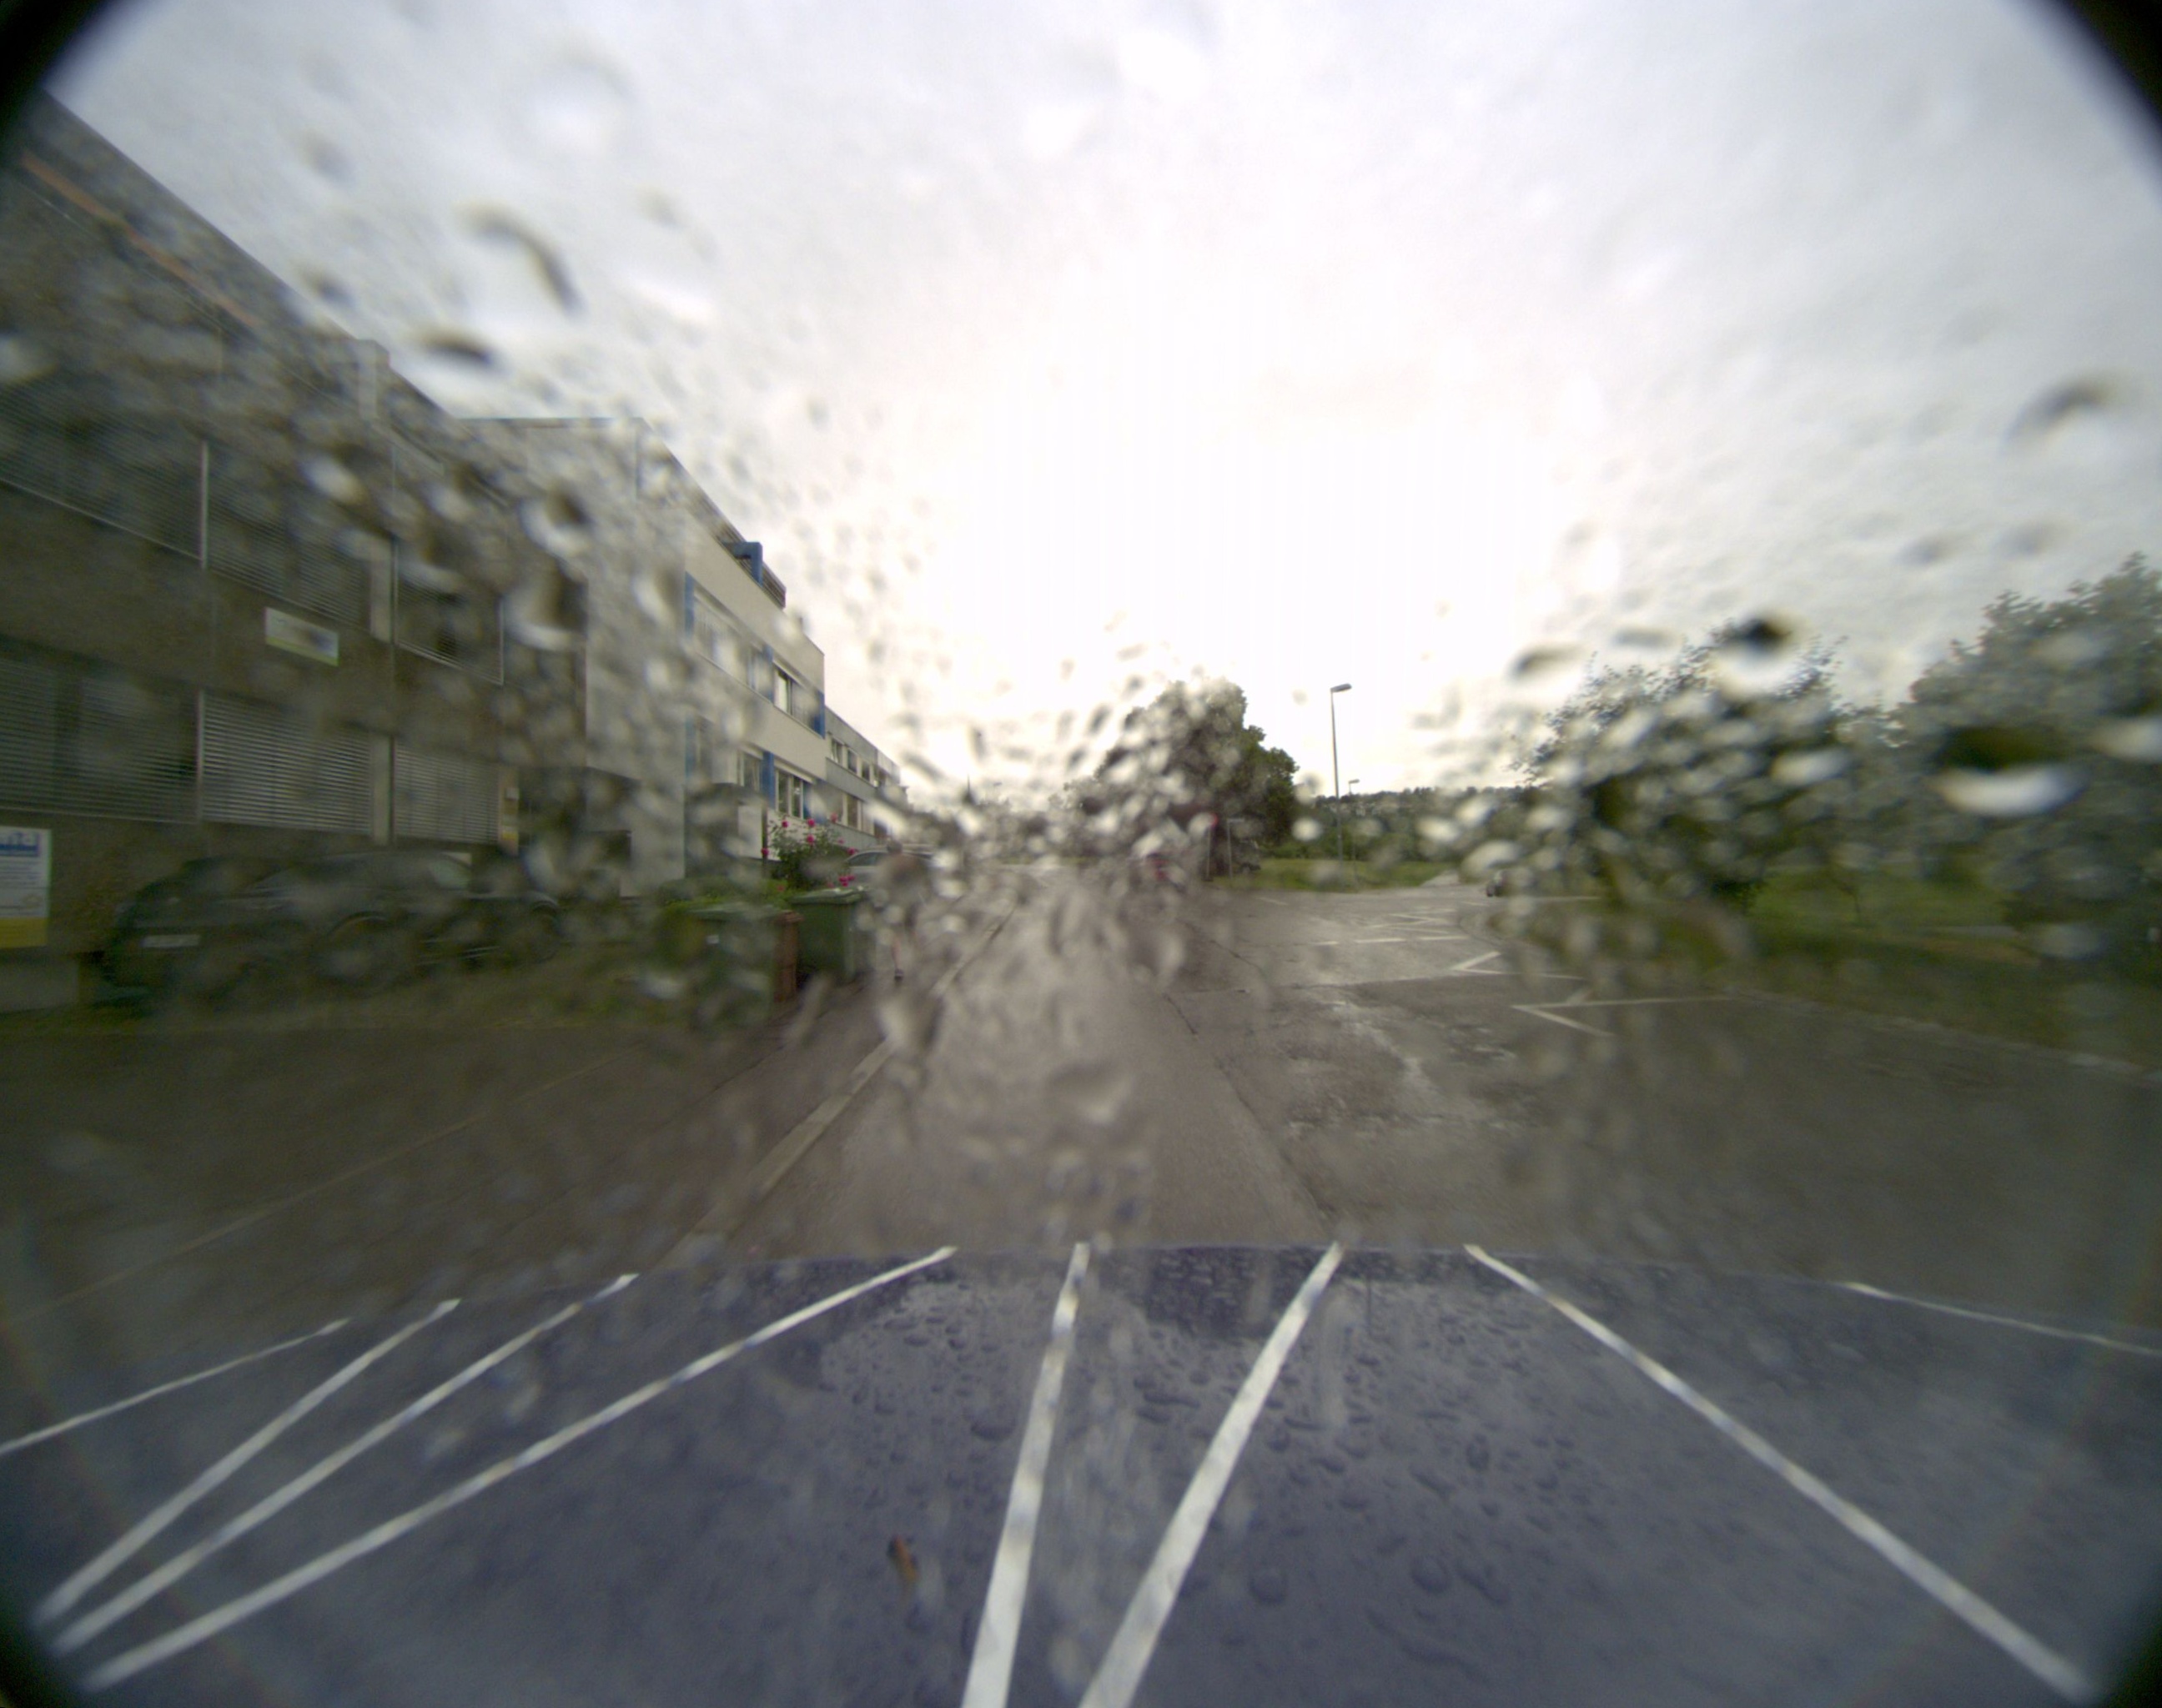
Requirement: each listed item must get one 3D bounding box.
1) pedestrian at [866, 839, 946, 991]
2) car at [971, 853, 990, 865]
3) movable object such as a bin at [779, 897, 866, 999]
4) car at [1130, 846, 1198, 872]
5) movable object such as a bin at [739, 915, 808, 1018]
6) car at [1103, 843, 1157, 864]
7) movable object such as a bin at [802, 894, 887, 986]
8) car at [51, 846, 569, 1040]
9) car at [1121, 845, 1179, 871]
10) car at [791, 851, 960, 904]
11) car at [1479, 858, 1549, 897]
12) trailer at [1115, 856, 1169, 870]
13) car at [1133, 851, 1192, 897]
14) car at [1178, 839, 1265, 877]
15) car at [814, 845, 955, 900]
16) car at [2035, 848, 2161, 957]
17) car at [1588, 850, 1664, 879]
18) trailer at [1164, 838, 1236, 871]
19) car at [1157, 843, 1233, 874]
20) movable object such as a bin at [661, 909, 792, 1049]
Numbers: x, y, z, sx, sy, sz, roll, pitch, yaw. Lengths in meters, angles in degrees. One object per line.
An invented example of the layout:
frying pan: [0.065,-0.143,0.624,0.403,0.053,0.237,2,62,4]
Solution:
pedestrian: [-2.114,0.709,9.255,0.738,1.757,0.808,-2,1,-1]
car: [-15.123,0.712,114.190,1.819,1.717,4.643,-1,1,-22]
movable object such as a bin: [-2.930,1.054,8.660,0.745,1.060,0.636,-2,1,-1]
car: [6.088,0.360,56.078,4.631,1.581,1.805,-3,1,-5]
movable object such as a bin: [-3.142,1.137,7.787,0.473,0.961,0.514,-2,1,-1]
car: [4.282,-0.034,66.405,4.382,1.712,2.043,-1,1,-9]
movable object such as a bin: [-2.903,1.042,9.396,0.773,1.024,0.808,-2,0,-1]
car: [-8.562,0.789,9.205,1.753,1.740,4.472,-1,1,-2]
car: [5.310,0.283,58.695,4.085,1.712,2.024,-3,1,-3]
car: [-6.123,0.681,23.118,4.609,1.529,2.079,0,0,-2]
car: [20.667,1.168,36.464,1.996,1.742,4.392,-1,-3,17]
trailer: [4.906,0.688,61.327,3.953,0.955,1.999,-2,0,-7]
car: [2.939,0.682,28.137,1.751,1.500,3.934,-2,1,1]
car: [7.458,0.183,40.534,4.311,1.895,1.862,-1,1,1]
car: [-6.664,0.598,26.181,4.353,1.763,2.088,-1,0,-4]
car: [19.808,0.808,12.764,2.131,1.910,5.620,-2,-2,22]
car: [43.094,0.778,60.198,4.493,2.207,1.932,0,0,17]
trailer: [7.593,0.024,48.551,4.225,1.973,1.773,-1,1,-5]
car: [6.812,0.241,45.623,4.209,1.712,1.754,-1,1,-8]
movable object such as a bin: [-3.100,1.065,6.686,0.730,1.107,0.704,-1,1,14]
